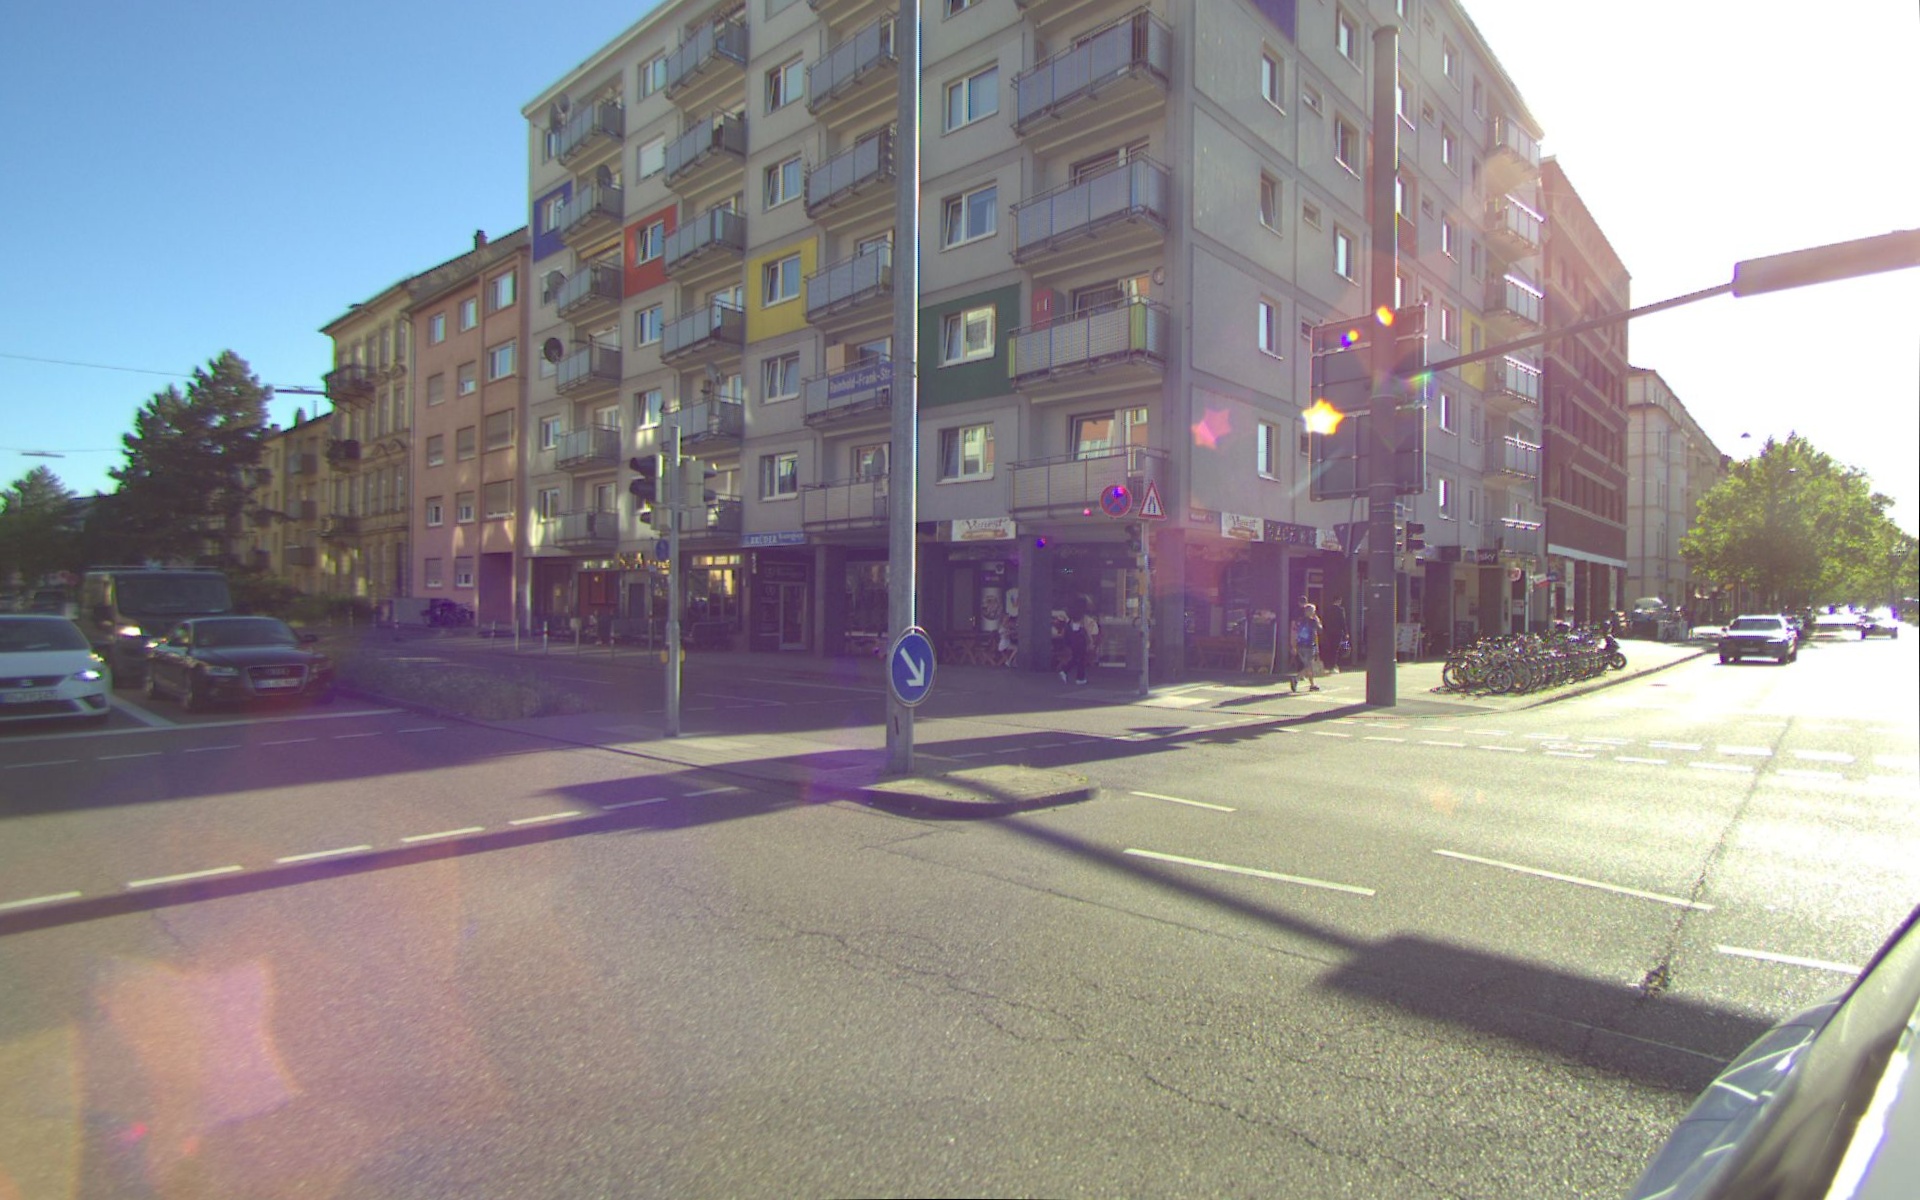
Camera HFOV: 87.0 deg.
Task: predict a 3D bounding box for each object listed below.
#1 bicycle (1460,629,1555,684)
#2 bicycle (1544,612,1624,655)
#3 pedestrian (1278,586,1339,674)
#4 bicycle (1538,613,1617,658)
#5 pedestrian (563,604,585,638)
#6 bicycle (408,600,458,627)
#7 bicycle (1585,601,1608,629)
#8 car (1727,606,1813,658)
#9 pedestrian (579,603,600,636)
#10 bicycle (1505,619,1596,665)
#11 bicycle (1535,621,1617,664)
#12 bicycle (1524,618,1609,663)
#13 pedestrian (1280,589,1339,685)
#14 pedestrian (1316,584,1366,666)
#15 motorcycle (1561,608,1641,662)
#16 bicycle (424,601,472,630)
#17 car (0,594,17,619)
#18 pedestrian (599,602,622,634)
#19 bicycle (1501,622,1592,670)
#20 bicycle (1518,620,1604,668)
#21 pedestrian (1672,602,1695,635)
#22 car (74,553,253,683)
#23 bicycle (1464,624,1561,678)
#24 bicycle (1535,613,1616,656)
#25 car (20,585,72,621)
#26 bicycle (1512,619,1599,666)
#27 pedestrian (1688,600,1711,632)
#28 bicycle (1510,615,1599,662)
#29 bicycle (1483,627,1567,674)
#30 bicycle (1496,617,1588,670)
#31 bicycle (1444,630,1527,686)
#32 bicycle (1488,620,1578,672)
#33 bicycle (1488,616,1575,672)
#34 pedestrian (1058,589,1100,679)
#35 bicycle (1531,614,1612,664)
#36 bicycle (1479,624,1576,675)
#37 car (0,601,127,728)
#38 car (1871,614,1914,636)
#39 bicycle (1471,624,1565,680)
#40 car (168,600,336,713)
[{"bbox_3d":[11.376,1.155,21.067,1.697,1.024,0.405,1,1,40],"label":"bicycle"},{"bbox_3d":[16.822,0.896,27.319,1.814,1.074,0.410,1,1,38],"label":"bicycle"},{"bbox_3d":[7.651,0.628,22.209,0.862,1.858,1.193,-1,0,41],"label":"pedestrian"},{"bbox_3d":[17.255,0.982,28.287,1.814,1.189,0.694,0,1,38],"label":"bicycle"},{"bbox_3d":[-13.598,0.742,35.649,0.551,1.181,0.548,0,0,-44],"label":"pedestrian"},{"bbox_3d":[-22.928,0.581,44.081,0.678,1.004,1.910,-2,4,20],"label":"bicycle"},{"bbox_3d":[29.912,0.701,47.551,0.596,1.257,1.904,0,1,41],"label":"bicycle"},{"bbox_3d":[29.032,1.103,36.220,4.050,1.709,1.898,0,0,-44],"label":"car"},{"bbox_3d":[-13.183,0.690,36.028,0.521,1.181,0.562,0,0,-43],"label":"pedestrian"},{"bbox_3d":[14.149,1.007,24.269,1.815,1.074,0.409,-2,-1,40],"label":"bicycle"},{"bbox_3d":[16.205,1.098,26.663,1.814,1.074,0.410,0,0,38],"label":"bicycle"},{"bbox_3d":[15.389,1.013,25.704,1.814,1.024,0.410,1,1,38],"label":"bicycle"},{"bbox_3d":[6.711,0.687,19.430,0.788,1.799,0.862,-1,0,41],"label":"pedestrian"},{"bbox_3d":[9.154,0.579,24.330,0.859,1.910,0.790,0,0,-41],"label":"pedestrian"},{"bbox_3d":[18.754,1.000,29.635,1.875,1.447,0.877,2,2,38],"label":"motorcycle"},{"bbox_3d":[-21.565,0.636,42.661,0.677,1.004,1.915,-3,4,13],"label":"bicycle"},{"bbox_3d":[-81.698,0.595,85.946,4.229,2.039,1.970,-2,-1,42],"label":"car"},{"bbox_3d":[-12.960,0.663,37.488,0.595,1.181,0.661,0,0,-43],"label":"pedestrian"},{"bbox_3d":[13.868,1.067,23.950,1.816,1.074,0.409,0,0,42],"label":"bicycle"},{"bbox_3d":[14.977,1.088,25.261,1.814,1.082,0.410,1,2,38],"label":"bicycle"},{"bbox_3d":[36.948,0.917,51.658,0.659,1.672,0.773,0,0,-36],"label":"pedestrian"},{"bbox_3d":[-15.830,0.280,19.984,2.338,2.226,5.243,0,1,-43],"label":"car"},{"bbox_3d":[11.803,1.085,21.646,1.749,1.090,0.400,-2,-1,41],"label":"bicycle"},{"bbox_3d":[16.408,0.905,27.004,1.814,1.073,0.409,0,1,39],"label":"bicycle"},{"bbox_3d":[-55.784,0.207,61.754,4.229,2.039,1.970,-2,-1,42],"label":"car"},{"bbox_3d":[14.659,1.031,24.959,1.814,1.082,0.410,0,2,38],"label":"bicycle"},{"bbox_3d":[43.810,0.931,59.980,0.858,1.907,1.212,-1,0,25],"label":"pedestrian"},{"bbox_3d":[14.426,0.923,24.583,1.815,1.073,0.409,0,2,39],"label":"bicycle"},{"bbox_3d":[12.397,1.100,22.238,1.542,0.978,0.381,-2,-1,43],"label":"bicycle"},{"bbox_3d":[13.585,1.003,23.664,1.816,1.127,0.399,1,1,42],"label":"bicycle"},{"bbox_3d":[10.573,1.149,20.383,1.429,1.024,0.404,2,2,44],"label":"bicycle"},{"bbox_3d":[13.261,1.047,23.454,1.768,1.068,0.409,2,2,42],"label":"bicycle"},{"bbox_3d":[12.987,0.982,23.029,1.636,1.125,0.523,3,2,40],"label":"bicycle"},{"bbox_3d":[2.414,0.669,20.532,0.567,1.796,0.654,-1,-1,44],"label":"pedestrian"},{"bbox_3d":[15.915,1.006,26.371,1.773,1.245,0.410,0,0,38],"label":"bicycle"},{"bbox_3d":[12.664,1.100,22.619,1.810,1.096,0.523,-2,-1,40],"label":"bicycle"},{"bbox_3d":[-12.568,0.817,13.334,3.982,1.459,1.822,-2,-1,41],"label":"car"},{"bbox_3d":[60.830,1.589,66.069,1.980,1.308,4.327,0,0,41],"label":"car"},{"bbox_3d":[12.089,1.112,21.944,1.747,1.114,0.393,1,1,41],"label":"bicycle"},{"bbox_3d":[-11.227,0.810,15.984,1.938,1.487,4.158,-1,-1,-37],"label":"car"}]
